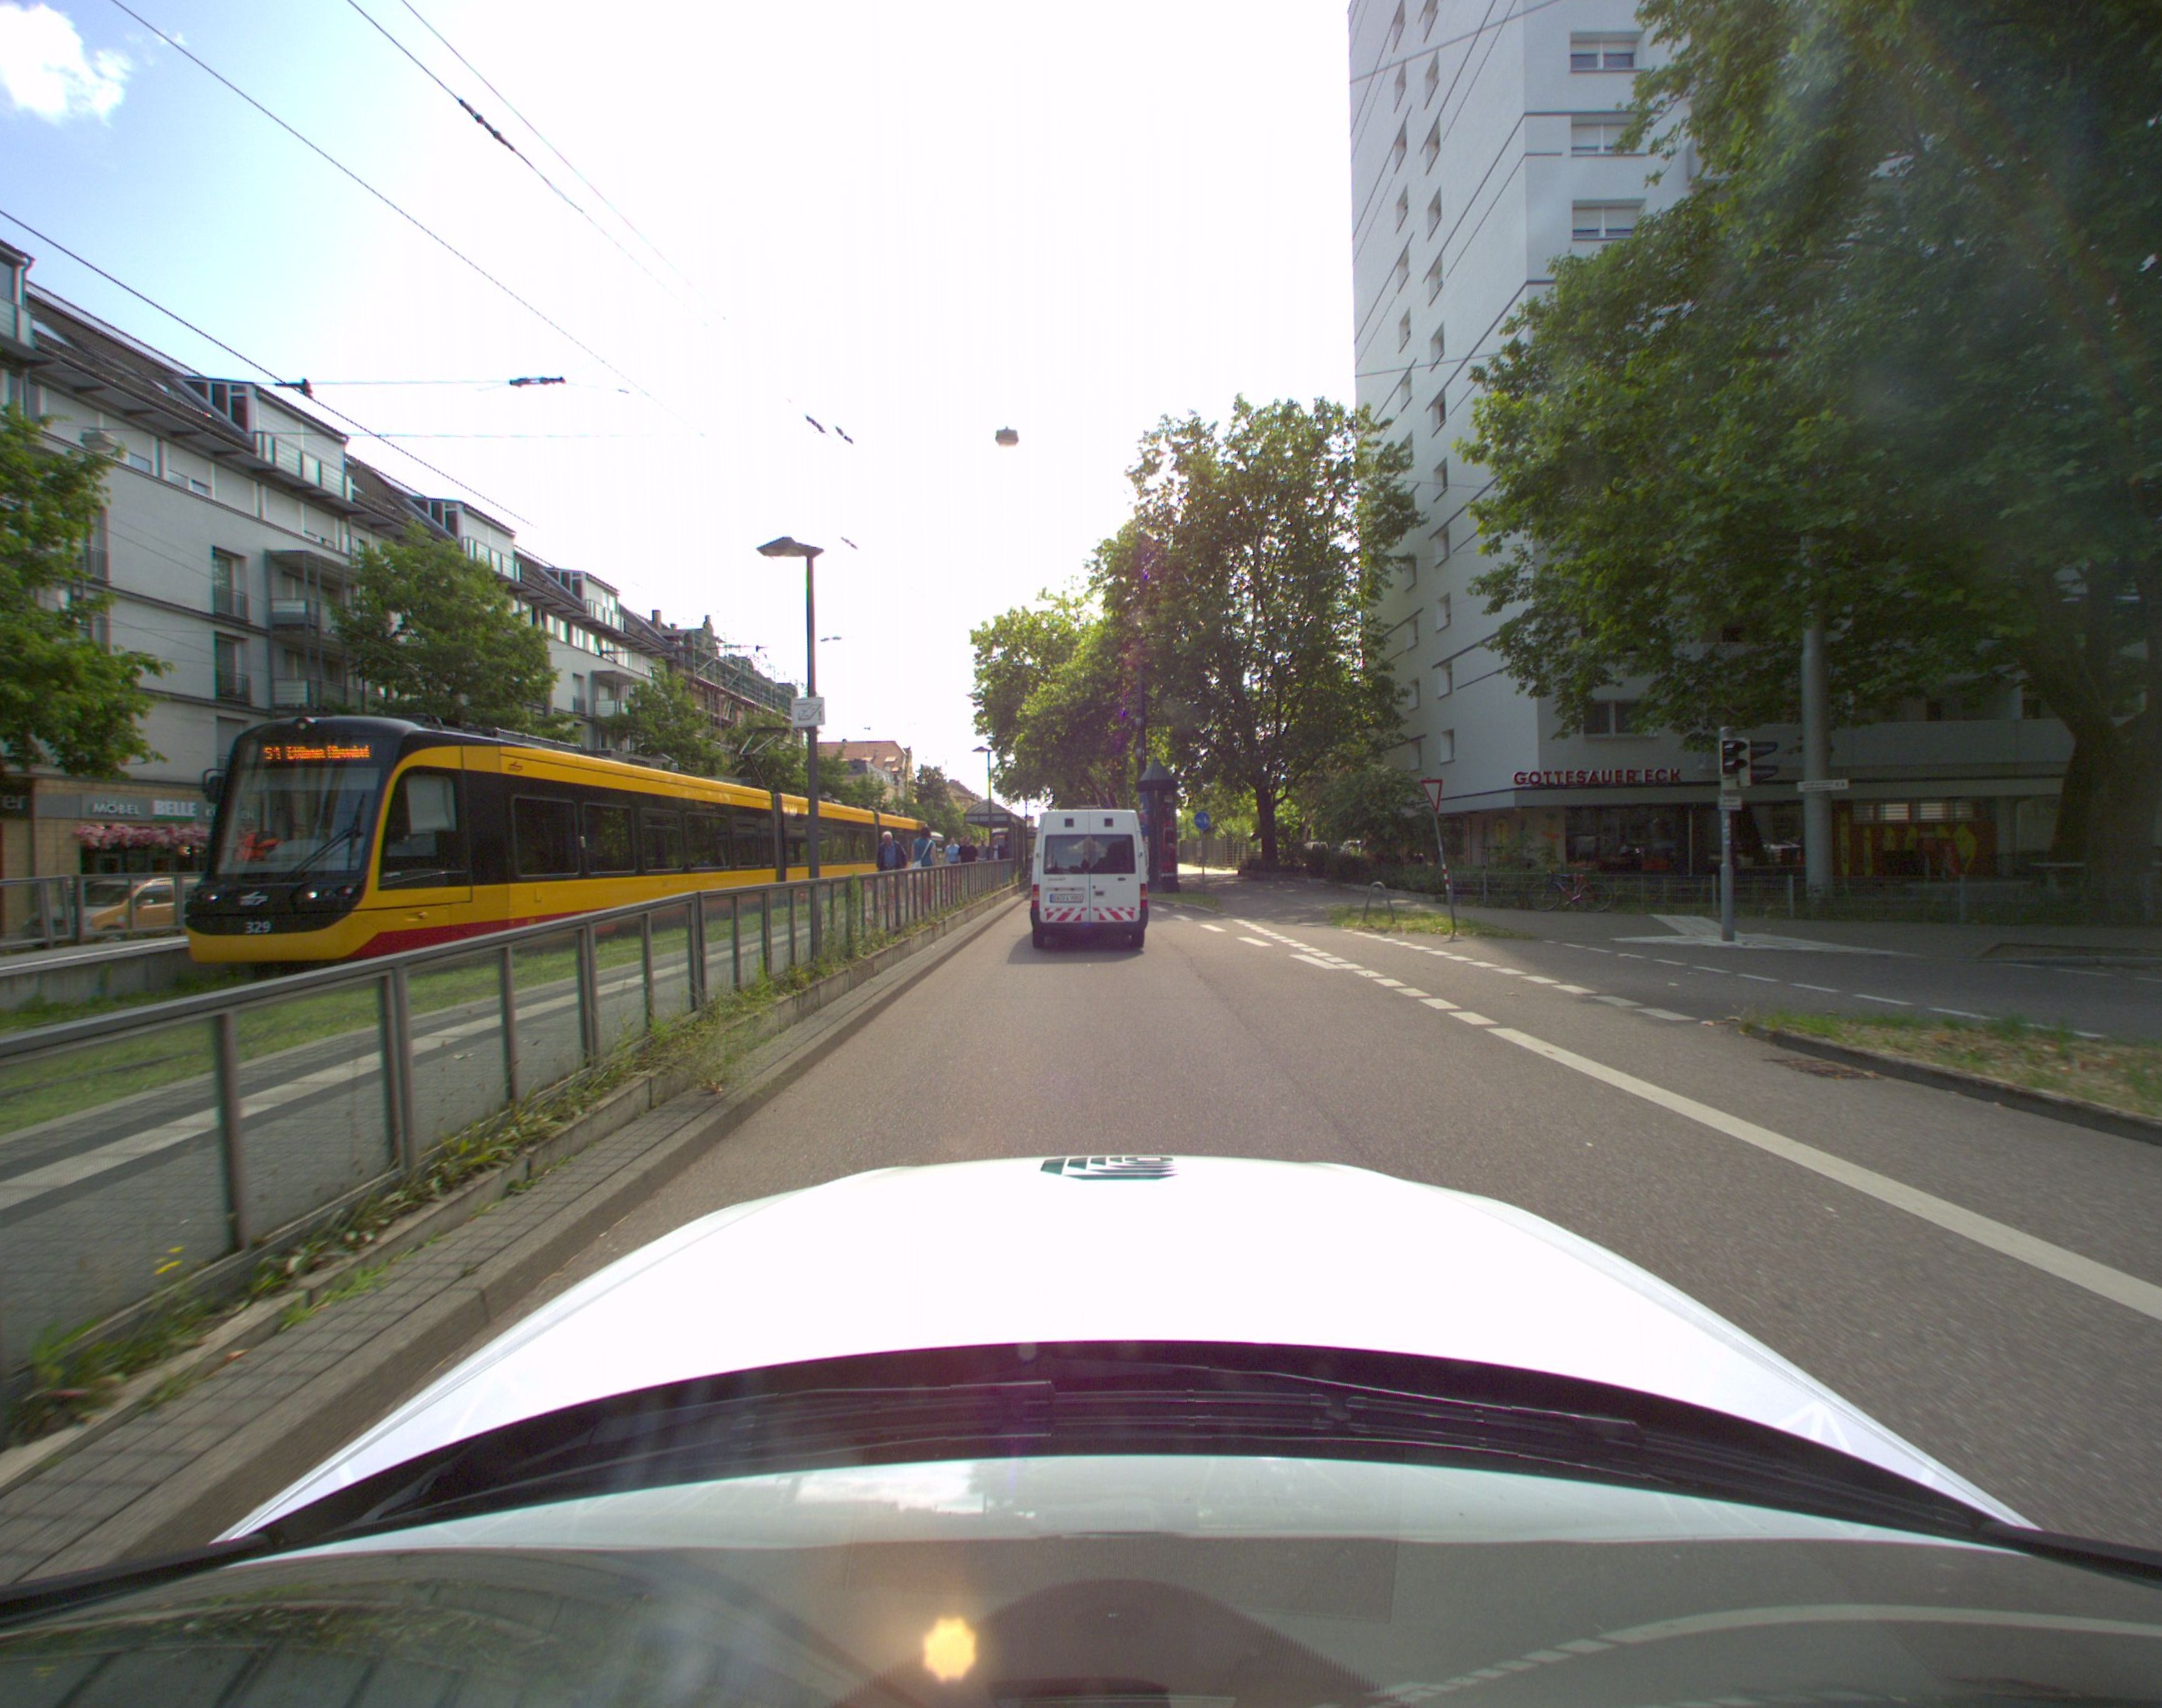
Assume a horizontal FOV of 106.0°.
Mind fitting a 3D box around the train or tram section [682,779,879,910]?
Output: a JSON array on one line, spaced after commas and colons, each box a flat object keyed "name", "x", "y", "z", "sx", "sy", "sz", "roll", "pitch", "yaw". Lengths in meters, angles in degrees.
[{"name": "train or tram section", "x": -9.599, "y": -0.268, "z": 27.703, "sx": 2.787, "sy": 3.584, "sz": 10.402, "roll": -1, "pitch": 0, "yaw": 0}]

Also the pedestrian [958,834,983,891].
[{"name": "pedestrian", "x": -3.651, "y": 0.285, "z": 26.899, "sx": 0.699, "sy": 1.849, "sz": 0.789, "roll": -1, "pitch": 0, "yaw": -1}]

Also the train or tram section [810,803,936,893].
[{"name": "train or tram section", "x": -9.550, "y": -0.243, "z": 39.434, "sx": 2.715, "sy": 3.584, "sz": 13.014, "roll": -1, "pitch": 0, "yaw": 0}]

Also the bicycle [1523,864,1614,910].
[{"name": "bicycle", "x": 10.959, "y": 0.731, "z": 18.354, "sx": 1.707, "sy": 1.009, "sz": 0.537, "roll": -1, "pitch": 0, "yaw": 27}]

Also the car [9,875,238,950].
[{"name": "car", "x": -23.830, "y": 1.386, "z": 20.478, "sx": 1.648, "sy": 1.579, "sz": 3.474, "roll": -1, "pitch": 0, "yaw": -2}]

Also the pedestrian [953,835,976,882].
[{"name": "pedestrian", "x": -4.493, "y": 0.168, "z": 31.489, "sx": 0.709, "sy": 1.801, "sz": 1.132, "roll": -1, "pitch": 0, "yaw": -1}]

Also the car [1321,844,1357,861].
[{"name": "car", "x": 22.167, "y": -0.103, "z": 70.104, "sx": 1.801, "sy": 1.402, "sz": 4.046, "roll": -1, "pitch": 0, "yaw": 0}]

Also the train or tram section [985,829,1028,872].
[{"name": "train or tram section", "x": -6.706, "y": -0.293, "z": 75.162, "sx": 2.715, "sy": 3.584, "sz": 13.014, "roll": -1, "pitch": 0, "yaw": 0}]

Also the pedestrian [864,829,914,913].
[{"name": "pedestrian", "x": -4.175, "y": 0.368, "z": 17.778, "sx": 0.855, "sy": 1.775, "sz": 0.876, "roll": -1, "pitch": 0, "yaw": 0}]

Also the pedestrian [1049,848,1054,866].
[{"name": "pedestrian", "x": -2.581, "y": 0.245, "z": 72.125, "sx": 0.384, "sy": 1.591, "sz": 0.438, "roll": -1, "pitch": 0, "yaw": -1}]

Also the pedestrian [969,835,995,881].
[{"name": "pedestrian", "x": -3.999, "y": 0.166, "z": 33.001, "sx": 0.883, "sy": 1.801, "sz": 1.494, "roll": -1, "pitch": 0, "yaw": -1}]

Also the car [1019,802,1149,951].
[{"name": "car", "x": 0.063, "y": 0.348, "z": 15.410, "sx": 2.040, "sy": 2.333, "sz": 4.714, "roll": -1, "pitch": 0, "yaw": 0}]

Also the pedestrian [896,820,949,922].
[{"name": "pedestrian", "x": -3.049, "y": 0.324, "z": 15.731, "sx": 0.824, "sy": 1.899, "sz": 0.846, "roll": -1, "pitch": 0, "yaw": 0}]

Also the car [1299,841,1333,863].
[{"name": "car", "x": 20.200, "y": -0.154, "z": 70.148, "sx": 1.800, "sy": 1.815, "sz": 4.341, "roll": -1, "pitch": 0, "yaw": 2}]

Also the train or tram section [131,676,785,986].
[{"name": "train or tram section", "x": -9.624, "y": -0.275, "z": 15.993, "sx": 2.798, "sy": 3.584, "sz": 13.014, "roll": -1, "pitch": 0, "yaw": 0}]

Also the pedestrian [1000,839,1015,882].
[{"name": "pedestrian", "x": -3.231, "y": 0.286, "z": 35.750, "sx": 0.472, "sy": 1.900, "sz": 0.533, "roll": -1, "pitch": 0, "yaw": -25}]

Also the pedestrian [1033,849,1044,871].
[{"name": "pedestrian", "x": -2.993, "y": 0.417, "z": 57.324, "sx": 0.674, "sy": 1.515, "sz": 0.595, "roll": -1, "pitch": 0, "yaw": -1}]

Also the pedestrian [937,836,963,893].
[{"name": "pedestrian", "x": -4.321, "y": 0.339, "z": 26.934, "sx": 0.699, "sy": 1.849, "sz": 0.907, "roll": -1, "pitch": 0, "yaw": -1}]

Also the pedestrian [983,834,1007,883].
[{"name": "pedestrian", "x": -3.326, "y": 0.177, "z": 31.647, "sx": 0.808, "sy": 1.872, "sz": 1.030, "roll": -1, "pitch": 0, "yaw": -1}]
